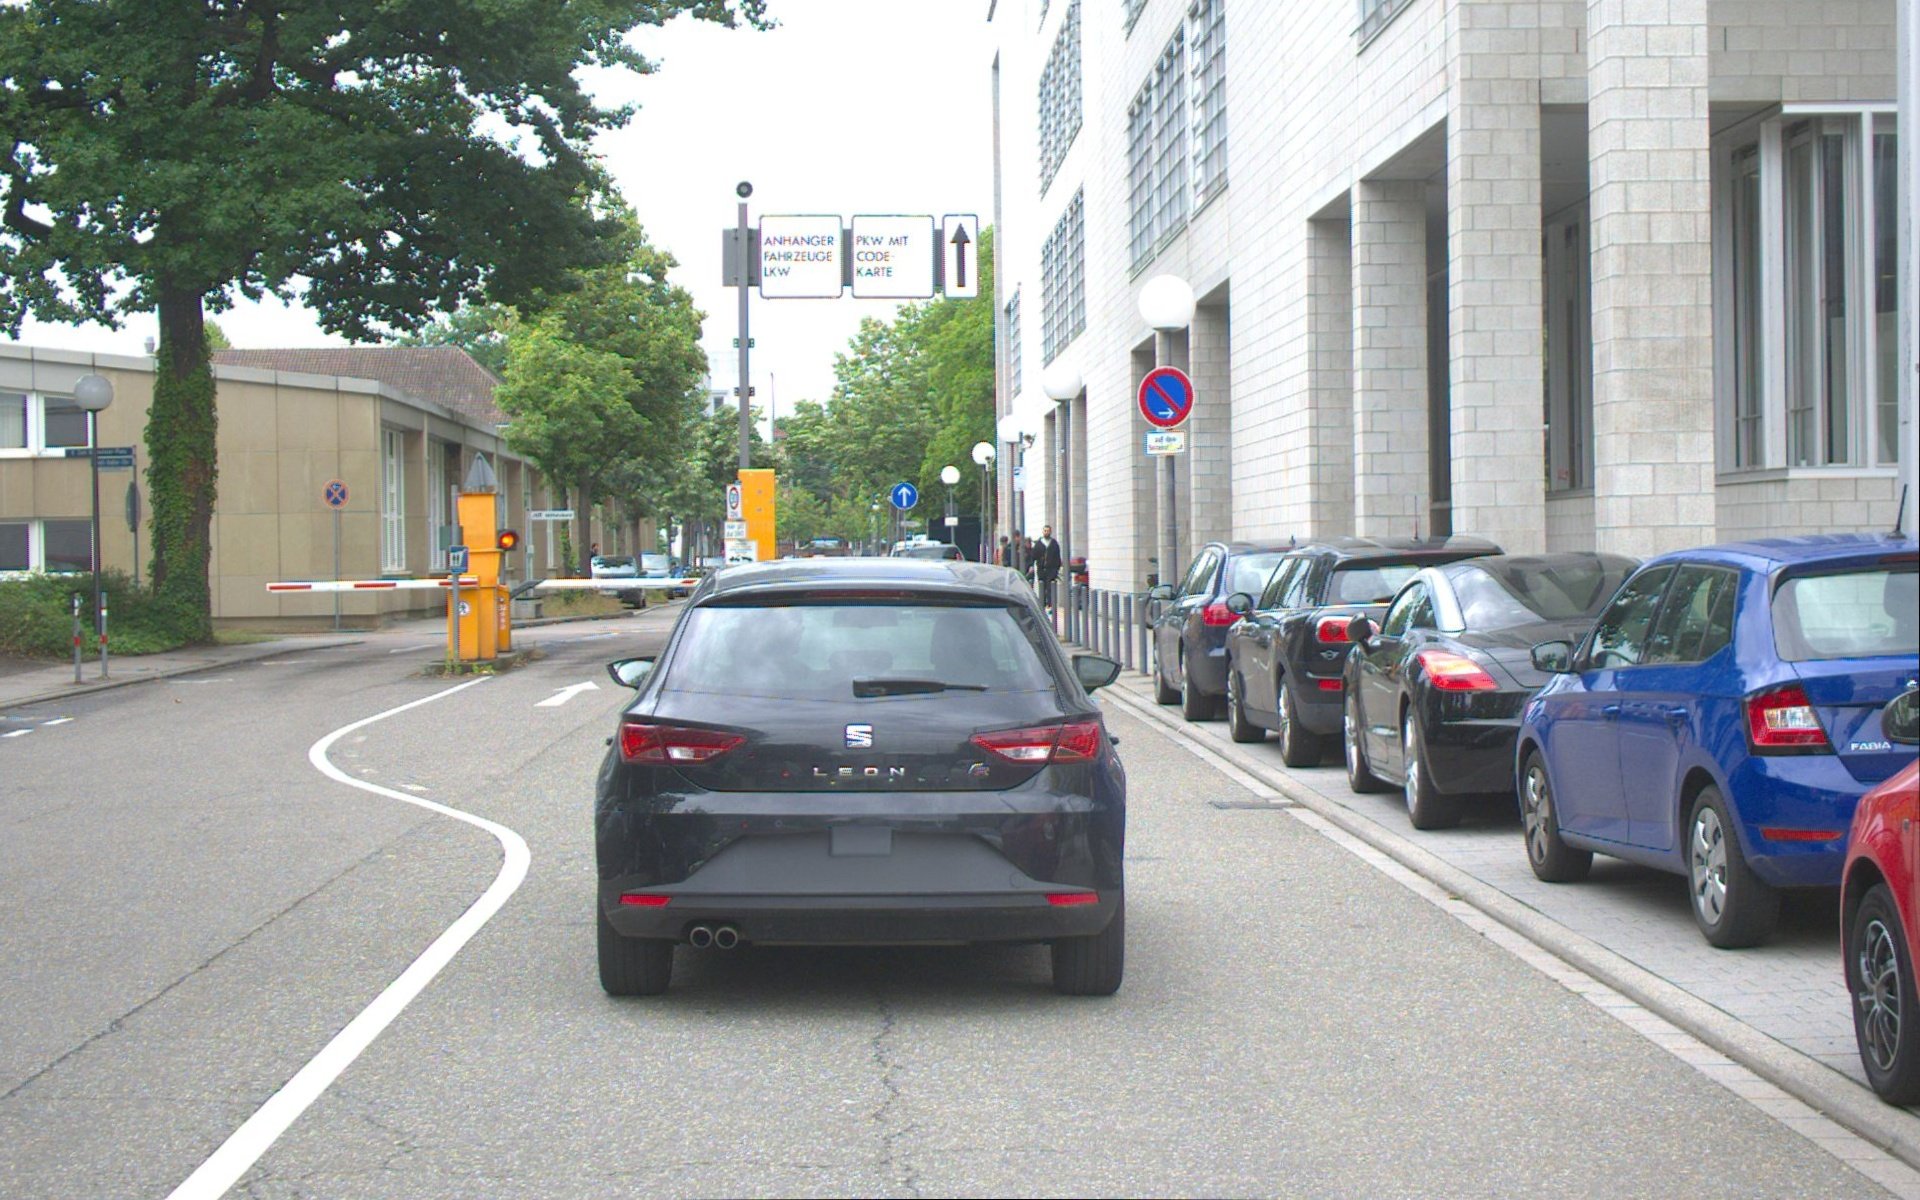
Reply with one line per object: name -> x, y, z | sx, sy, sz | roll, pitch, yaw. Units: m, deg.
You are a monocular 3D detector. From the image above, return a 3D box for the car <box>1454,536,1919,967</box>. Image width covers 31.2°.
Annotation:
car -> 3.313, 0.467, 13.621 | 1.695, 1.406, 4.377 | -2, 1, -5

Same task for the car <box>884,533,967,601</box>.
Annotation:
car -> -0.918, -0.866, 88.537 | 1.993, 1.617, 4.428 | -2, 1, -2

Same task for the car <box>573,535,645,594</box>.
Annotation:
car -> -9.766, -1.008, 95.800 | 1.770, 1.595, 4.001 | 0, 1, -3

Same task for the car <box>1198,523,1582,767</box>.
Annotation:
car -> 2.840, 0.241, 23.682 | 1.817, 1.438, 4.521 | -2, 1, -3

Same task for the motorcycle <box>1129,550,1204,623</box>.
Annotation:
motorcycle -> 3.532, -0.243, 58.648 | 0.566, 1.144, 2.215 | 2, 3, 23

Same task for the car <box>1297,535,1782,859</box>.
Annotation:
car -> 3.014, 0.426, 18.795 | 1.848, 1.437, 4.419 | -1, 2, -1

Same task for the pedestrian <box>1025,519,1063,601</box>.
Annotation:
pedestrian -> 1.773, -0.845, 72.492 | 0.727, 1.693, 0.588 | 0, 3, -7

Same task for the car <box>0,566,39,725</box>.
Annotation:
car -> -9.321, 0.423, 29.791 | 1.817, 1.384, 4.195 | 0, 1, -4

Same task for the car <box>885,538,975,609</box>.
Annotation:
car -> -0.773, -0.645, 84.012 | 1.993, 1.617, 4.428 | -2, 0, -3

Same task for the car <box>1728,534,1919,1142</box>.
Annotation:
car -> 3.205, 0.572, 7.953 | 1.712, 1.468, 4.274 | -3, 1, -2

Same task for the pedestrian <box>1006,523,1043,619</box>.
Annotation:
pedestrian -> 1.166, -0.524, 62.042 | 0.611, 1.708, 0.574 | -2, 1, 3

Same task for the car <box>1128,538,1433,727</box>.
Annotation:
car -> 2.641, 0.228, 29.516 | 1.993, 1.447, 4.923 | -1, 1, -2

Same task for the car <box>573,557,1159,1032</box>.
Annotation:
car -> -0.364, 0.567, 12.572 | 1.782, 1.414, 4.130 | 0, 1, -2

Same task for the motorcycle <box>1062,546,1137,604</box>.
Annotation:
motorcycle -> 3.068, -0.551, 75.231 | 0.760, 1.144, 2.660 | 2, 3, 23

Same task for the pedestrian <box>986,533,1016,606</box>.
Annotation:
pedestrian -> 0.981, -0.729, 81.935 | 0.696, 1.708, 0.489 | 0, 1, 3
